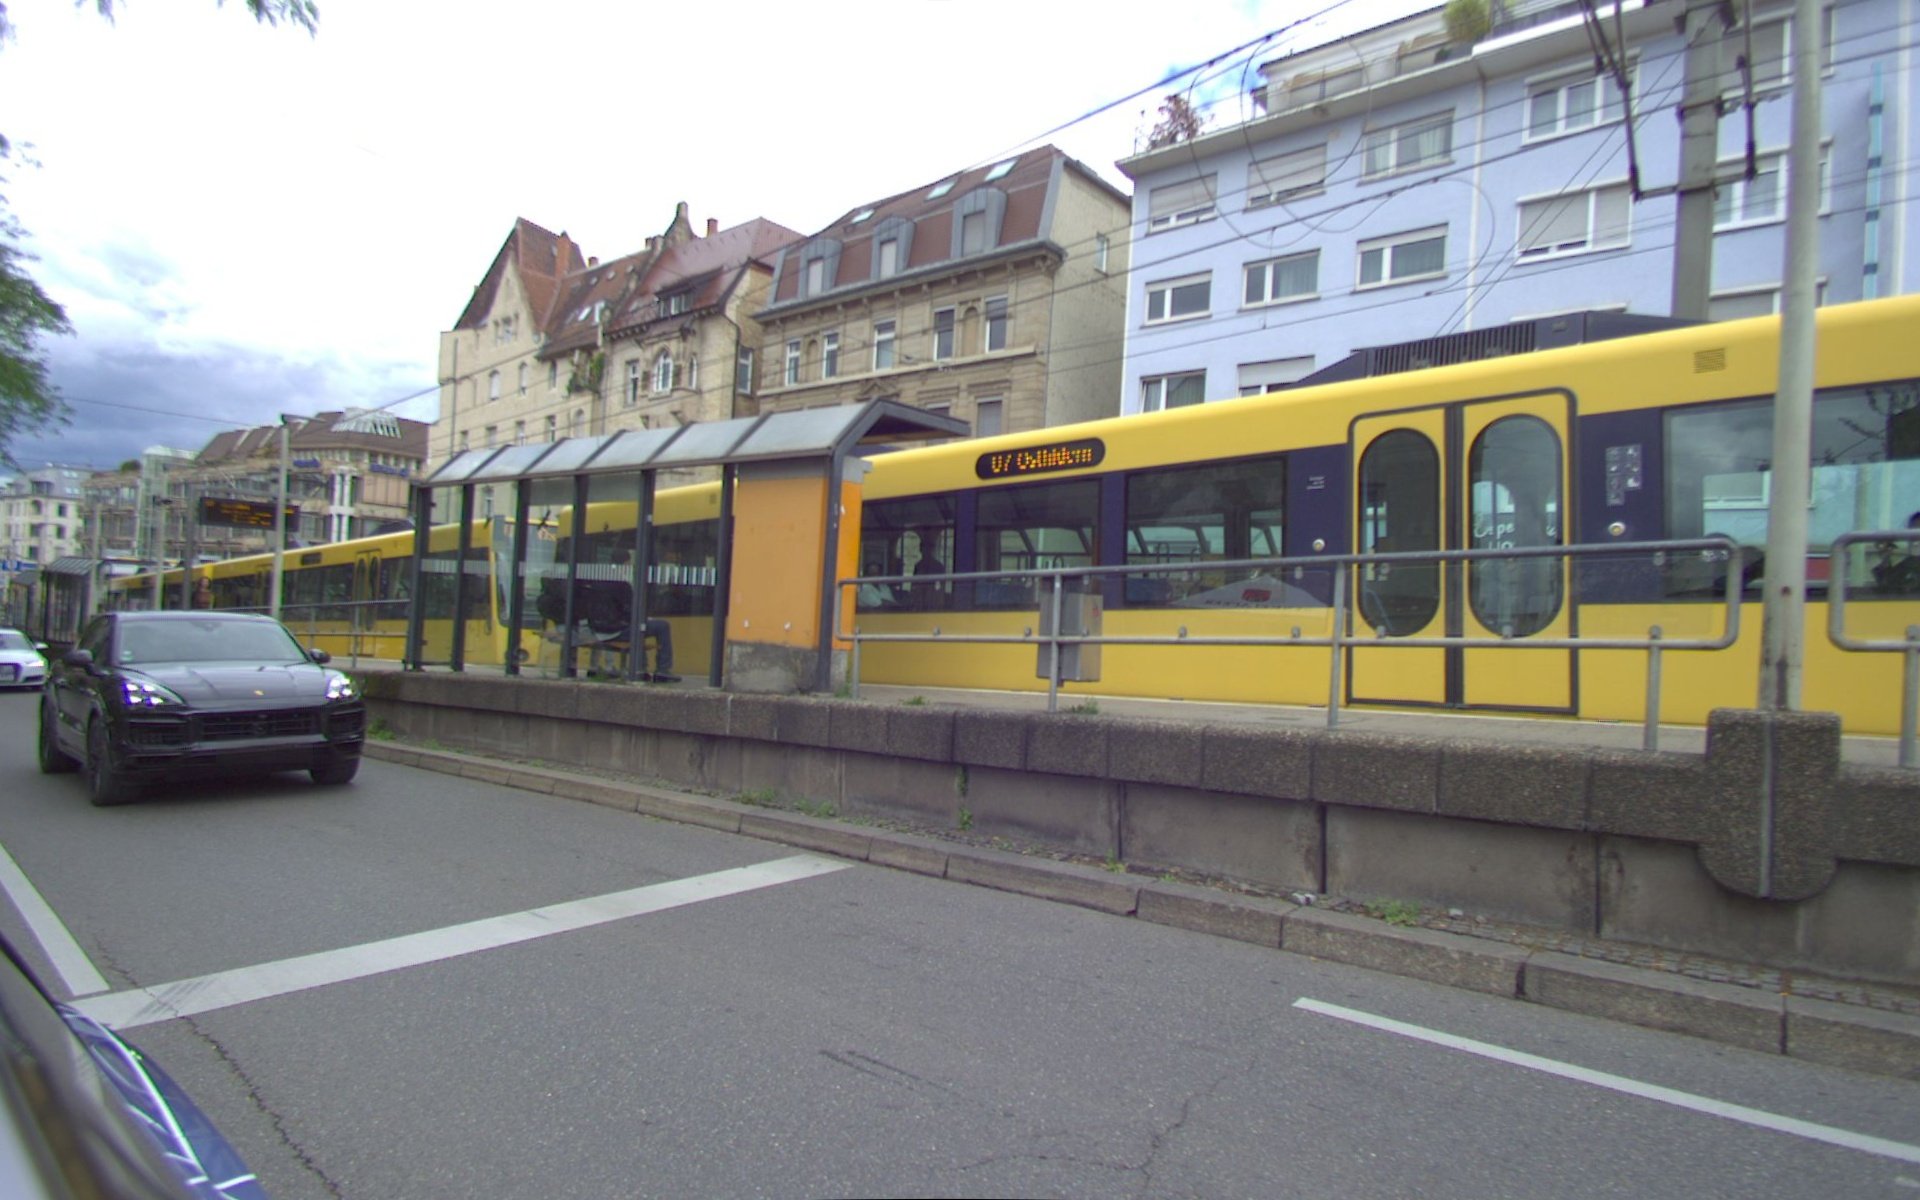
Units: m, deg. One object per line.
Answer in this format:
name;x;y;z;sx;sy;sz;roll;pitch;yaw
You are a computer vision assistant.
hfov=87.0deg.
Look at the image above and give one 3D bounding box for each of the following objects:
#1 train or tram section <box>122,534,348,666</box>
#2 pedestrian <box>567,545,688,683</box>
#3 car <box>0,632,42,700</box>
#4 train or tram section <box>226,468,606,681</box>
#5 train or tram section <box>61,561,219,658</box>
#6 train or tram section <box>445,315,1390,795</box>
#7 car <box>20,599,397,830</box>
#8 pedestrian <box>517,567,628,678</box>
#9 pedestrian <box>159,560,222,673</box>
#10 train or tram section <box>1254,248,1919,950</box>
train or tram section;-23.562;0.161;32.329;14.225;3.467;2.851;-2;-1;42
pedestrian;-3.349;0.163;10.208;0.778;1.316;0.841;-2;-5;42
car;-23.073;1.501;23.695;4.530;1.486;1.872;-2;-3;42
train or tram section;-12.978;-0.272;22.858;14.225;3.586;2.892;-2;-1;42
train or tram section;-34.132;0.481;41.767;14.225;3.445;2.851;-2;-1;42
train or tram section;-2.160;0.113;13.403;14.219;3.692;2.852;-4;-8;40
car;-7.447;0.922;9.822;4.780;1.698;2.006;-2;-3;42
pedestrian;-4.275;0.266;11.175;0.778;1.151;0.841;-2;-5;42
pedestrian;-16.097;0.355;21.168;0.772;2.302;0.827;-2;-4;41
train or tram section;8.551;-0.065;4.168;14.219;3.692;2.852;-3;-7;40
